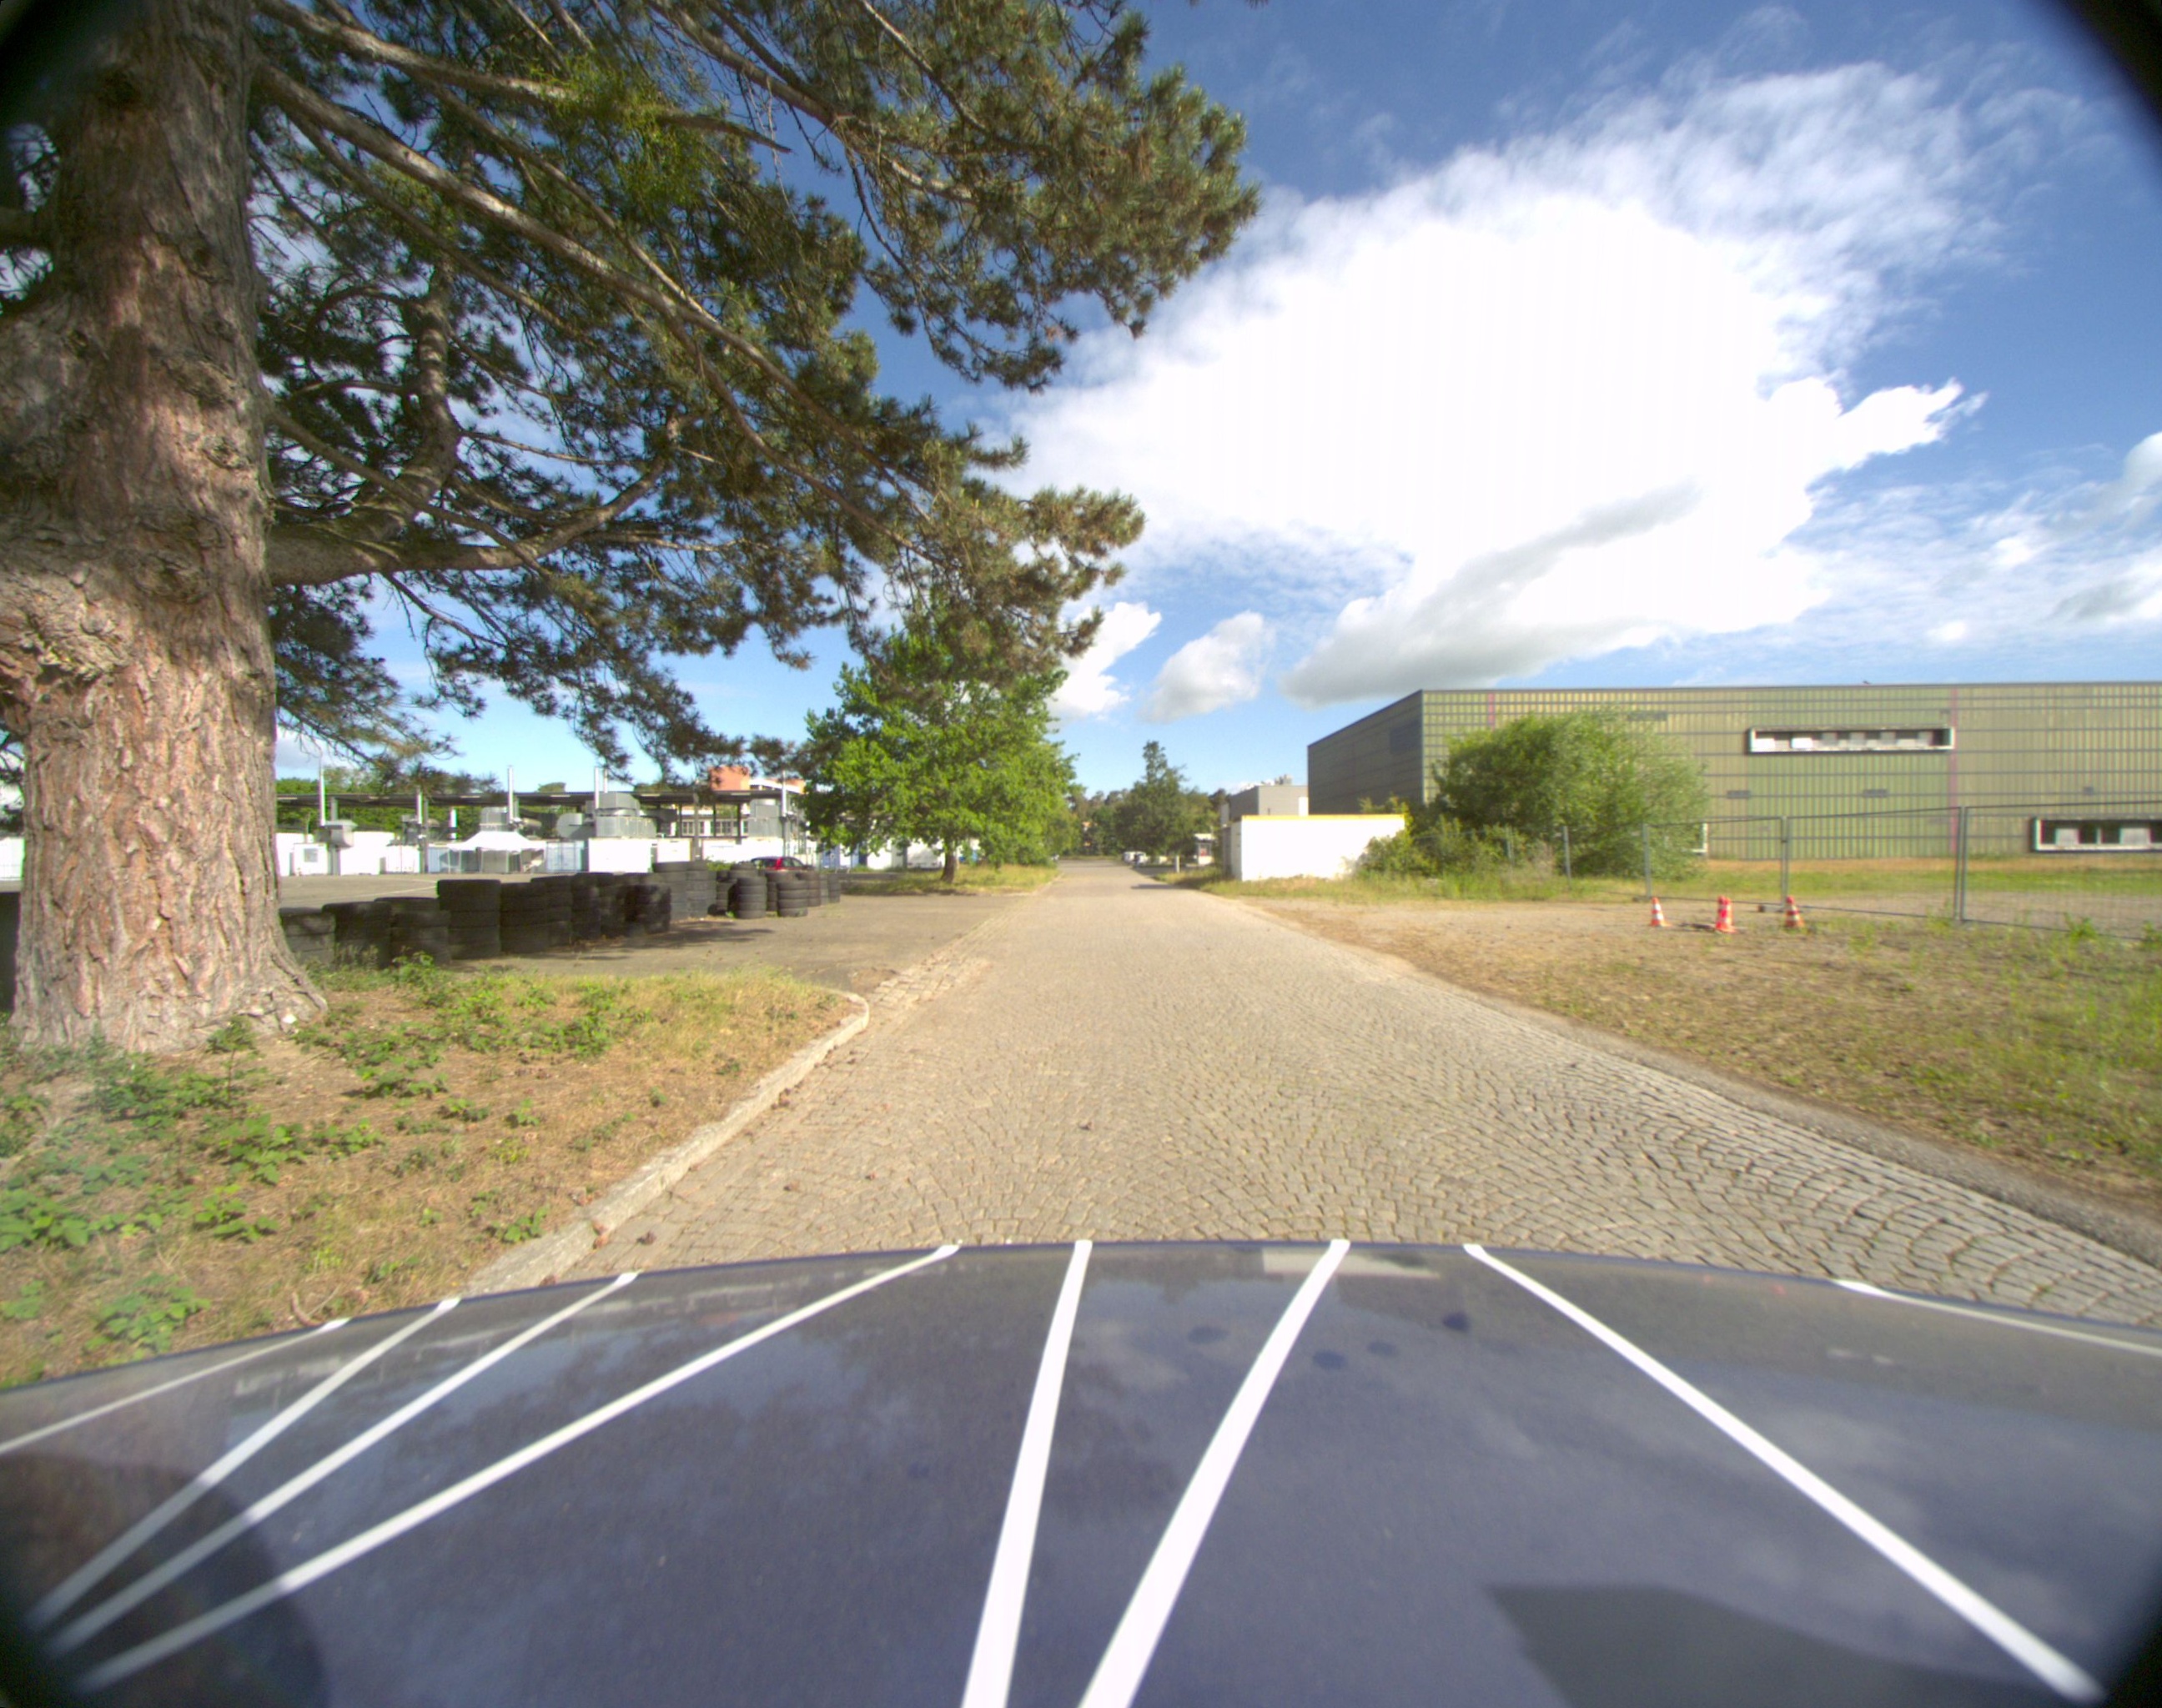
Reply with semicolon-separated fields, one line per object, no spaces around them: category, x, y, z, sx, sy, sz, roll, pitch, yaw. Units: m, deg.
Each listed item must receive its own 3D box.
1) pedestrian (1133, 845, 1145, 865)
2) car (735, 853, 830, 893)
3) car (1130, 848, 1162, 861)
pedestrian;5.164;0.066;68.264;0.908;1.797;0.983;0;1;-6
car;-11.758;0.714;30.224;1.846;1.440;4.002;0;1;7
car;8.173;0.070;95.469;3.996;1.678;2.000;0;1;4
